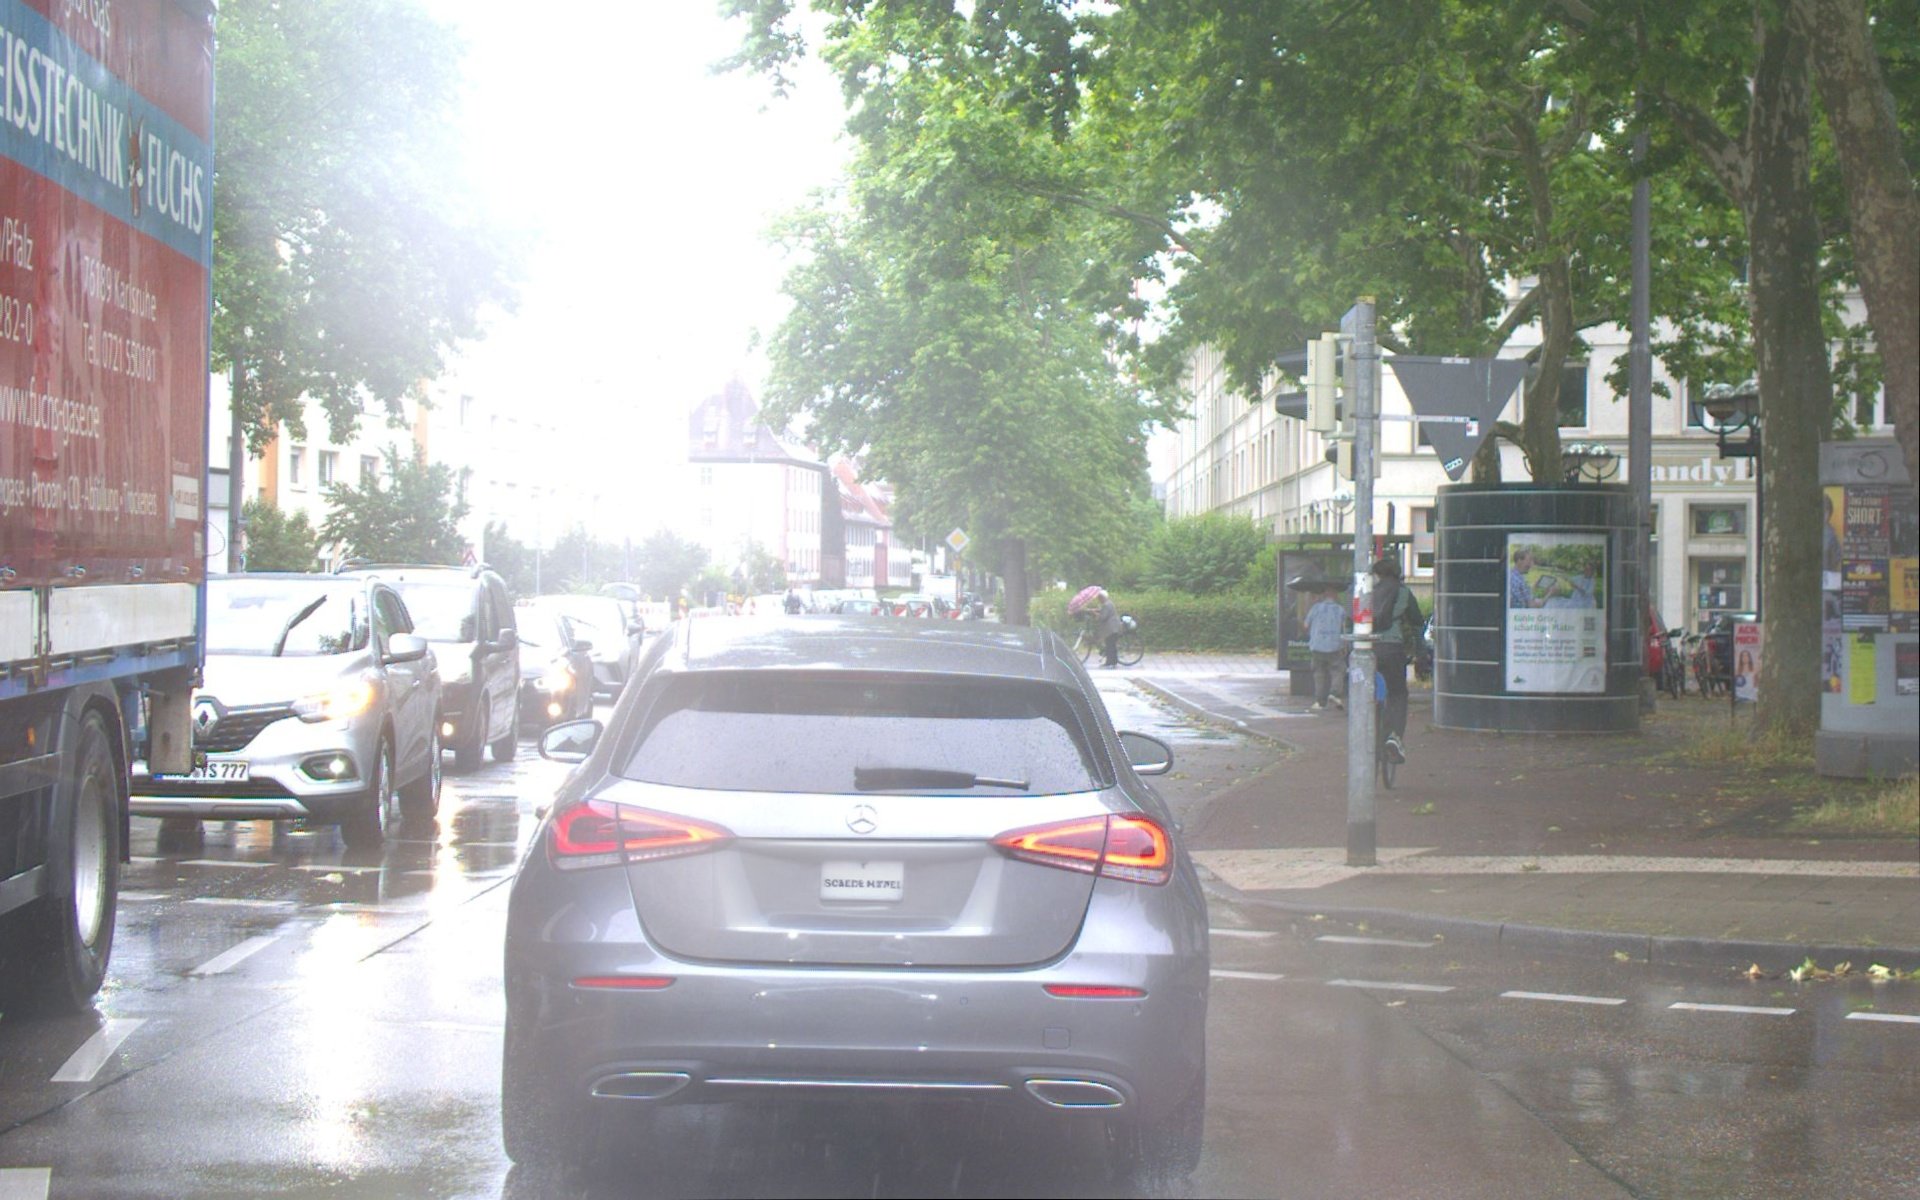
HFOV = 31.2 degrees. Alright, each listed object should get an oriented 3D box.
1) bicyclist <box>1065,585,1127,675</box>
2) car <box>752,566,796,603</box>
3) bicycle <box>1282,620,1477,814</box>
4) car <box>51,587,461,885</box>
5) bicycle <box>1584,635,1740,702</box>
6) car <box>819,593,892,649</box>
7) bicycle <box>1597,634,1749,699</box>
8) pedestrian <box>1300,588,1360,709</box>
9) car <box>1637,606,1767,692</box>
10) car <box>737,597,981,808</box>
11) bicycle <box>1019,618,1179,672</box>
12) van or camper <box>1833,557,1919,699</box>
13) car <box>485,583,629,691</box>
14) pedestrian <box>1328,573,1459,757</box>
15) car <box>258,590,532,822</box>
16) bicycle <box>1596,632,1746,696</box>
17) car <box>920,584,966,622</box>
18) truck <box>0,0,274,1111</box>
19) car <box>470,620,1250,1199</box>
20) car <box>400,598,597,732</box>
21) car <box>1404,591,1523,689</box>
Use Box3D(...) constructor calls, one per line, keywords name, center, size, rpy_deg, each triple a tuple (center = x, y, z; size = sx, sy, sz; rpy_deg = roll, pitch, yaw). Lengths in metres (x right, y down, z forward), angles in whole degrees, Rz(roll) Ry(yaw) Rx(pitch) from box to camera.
Box3D(name="bicyclist", center=(2.860, 0.645, 72.377), size=(0.938, 1.862, 1.143), rpy_deg=(1, -2, -20))
Box3D(name="car", center=(-9.419, -0.762, 174.292), size=(1.889, 1.830, 4.000), rpy_deg=(1, 0, 2))
Box3D(name="bicycle", center=(3.248, 0.859, 26.372), size=(0.750, 1.372, 2.704), rpy_deg=(0, 0, 23))
Box3D(name="car", center=(-4.117, 0.733, 20.701), size=(1.742, 1.598, 4.000), rpy_deg=(1, 0, -2))
Box3D(name="bicycle", center=(10.790, 1.048, 52.887), size=(2.284, 0.979, 0.545), rpy_deg=(1, 0, 21))
Box3D(name="car", center=(-3.023, 0.589, 98.887), size=(1.993, 1.568, 4.000), rpy_deg=(1, 0, -3))
Box3D(name="bicycle", center=(11.114, 1.030, 53.617), size=(2.254, 0.965, 0.534), rpy_deg=(1, 0, 21))
Box3D(name="pedestrian", center=(5.135, 0.666, 47.737), size=(0.716, 1.663, 0.665), rpy_deg=(1, 0, -2))
Box3D(name="car", center=(12.449, 0.836, 57.582), size=(1.584, 1.332, 3.258), rpy_deg=(0, -2, 22))
Box3D(name="car", center=(-0.742, 0.677, 24.706), size=(1.607, 1.368, 4.000), rpy_deg=(0, 0, -2))
Box3D(name="bicycle", center=(2.926, 0.958, 72.437), size=(3.205, 1.108, 1.054), rpy_deg=(1, -2, -20))
Box3D(name="van or camper", center=(16.073, 0.457, 56.326), size=(2.400, 2.224, 5.422), rpy_deg=(1, 0, 26))
Box3D(name="car", center=(-5.902, 0.519, 50.699), size=(1.845, 1.505, 4.056), rpy_deg=(1, 0, -3))
Box3D(name="pedestrian", center=(3.364, 0.490, 26.637), size=(0.745, 1.393, 1.046), rpy_deg=(0, 0, 23))
Box3D(name="car", center=(-4.831, 0.856, 29.904), size=(1.806, 1.855, 4.109), rpy_deg=(1, 0, -2))
Box3D(name="bicycle", center=(11.259, 1.004, 54.469), size=(2.249, 0.965, 0.584), rpy_deg=(1, 0, 21))
Box3D(name="car", center=(-0.810, 0.149, 166.953), size=(2.046, 1.830, 4.792), rpy_deg=(1, 0, 2))
Box3D(name="truck", center=(-4.103, -0.601, 9.941), size=(2.845, 4.012, 10.317), rpy_deg=(0, 0, -4))
Box3D(name="car", center=(-0.301, 0.792, 9.844), size=(1.791, 1.368, 3.507), rpy_deg=(2, 0, -2))
Box3D(name="car", center=(-5.187, 0.720, 39.135), size=(1.742, 1.385, 4.362), rpy_deg=(2, -1, -2))
Box3D(name="car", center=(8.607, 0.703, 58.612), size=(1.689, 1.546, 3.520), rpy_deg=(1, -2, 13))
